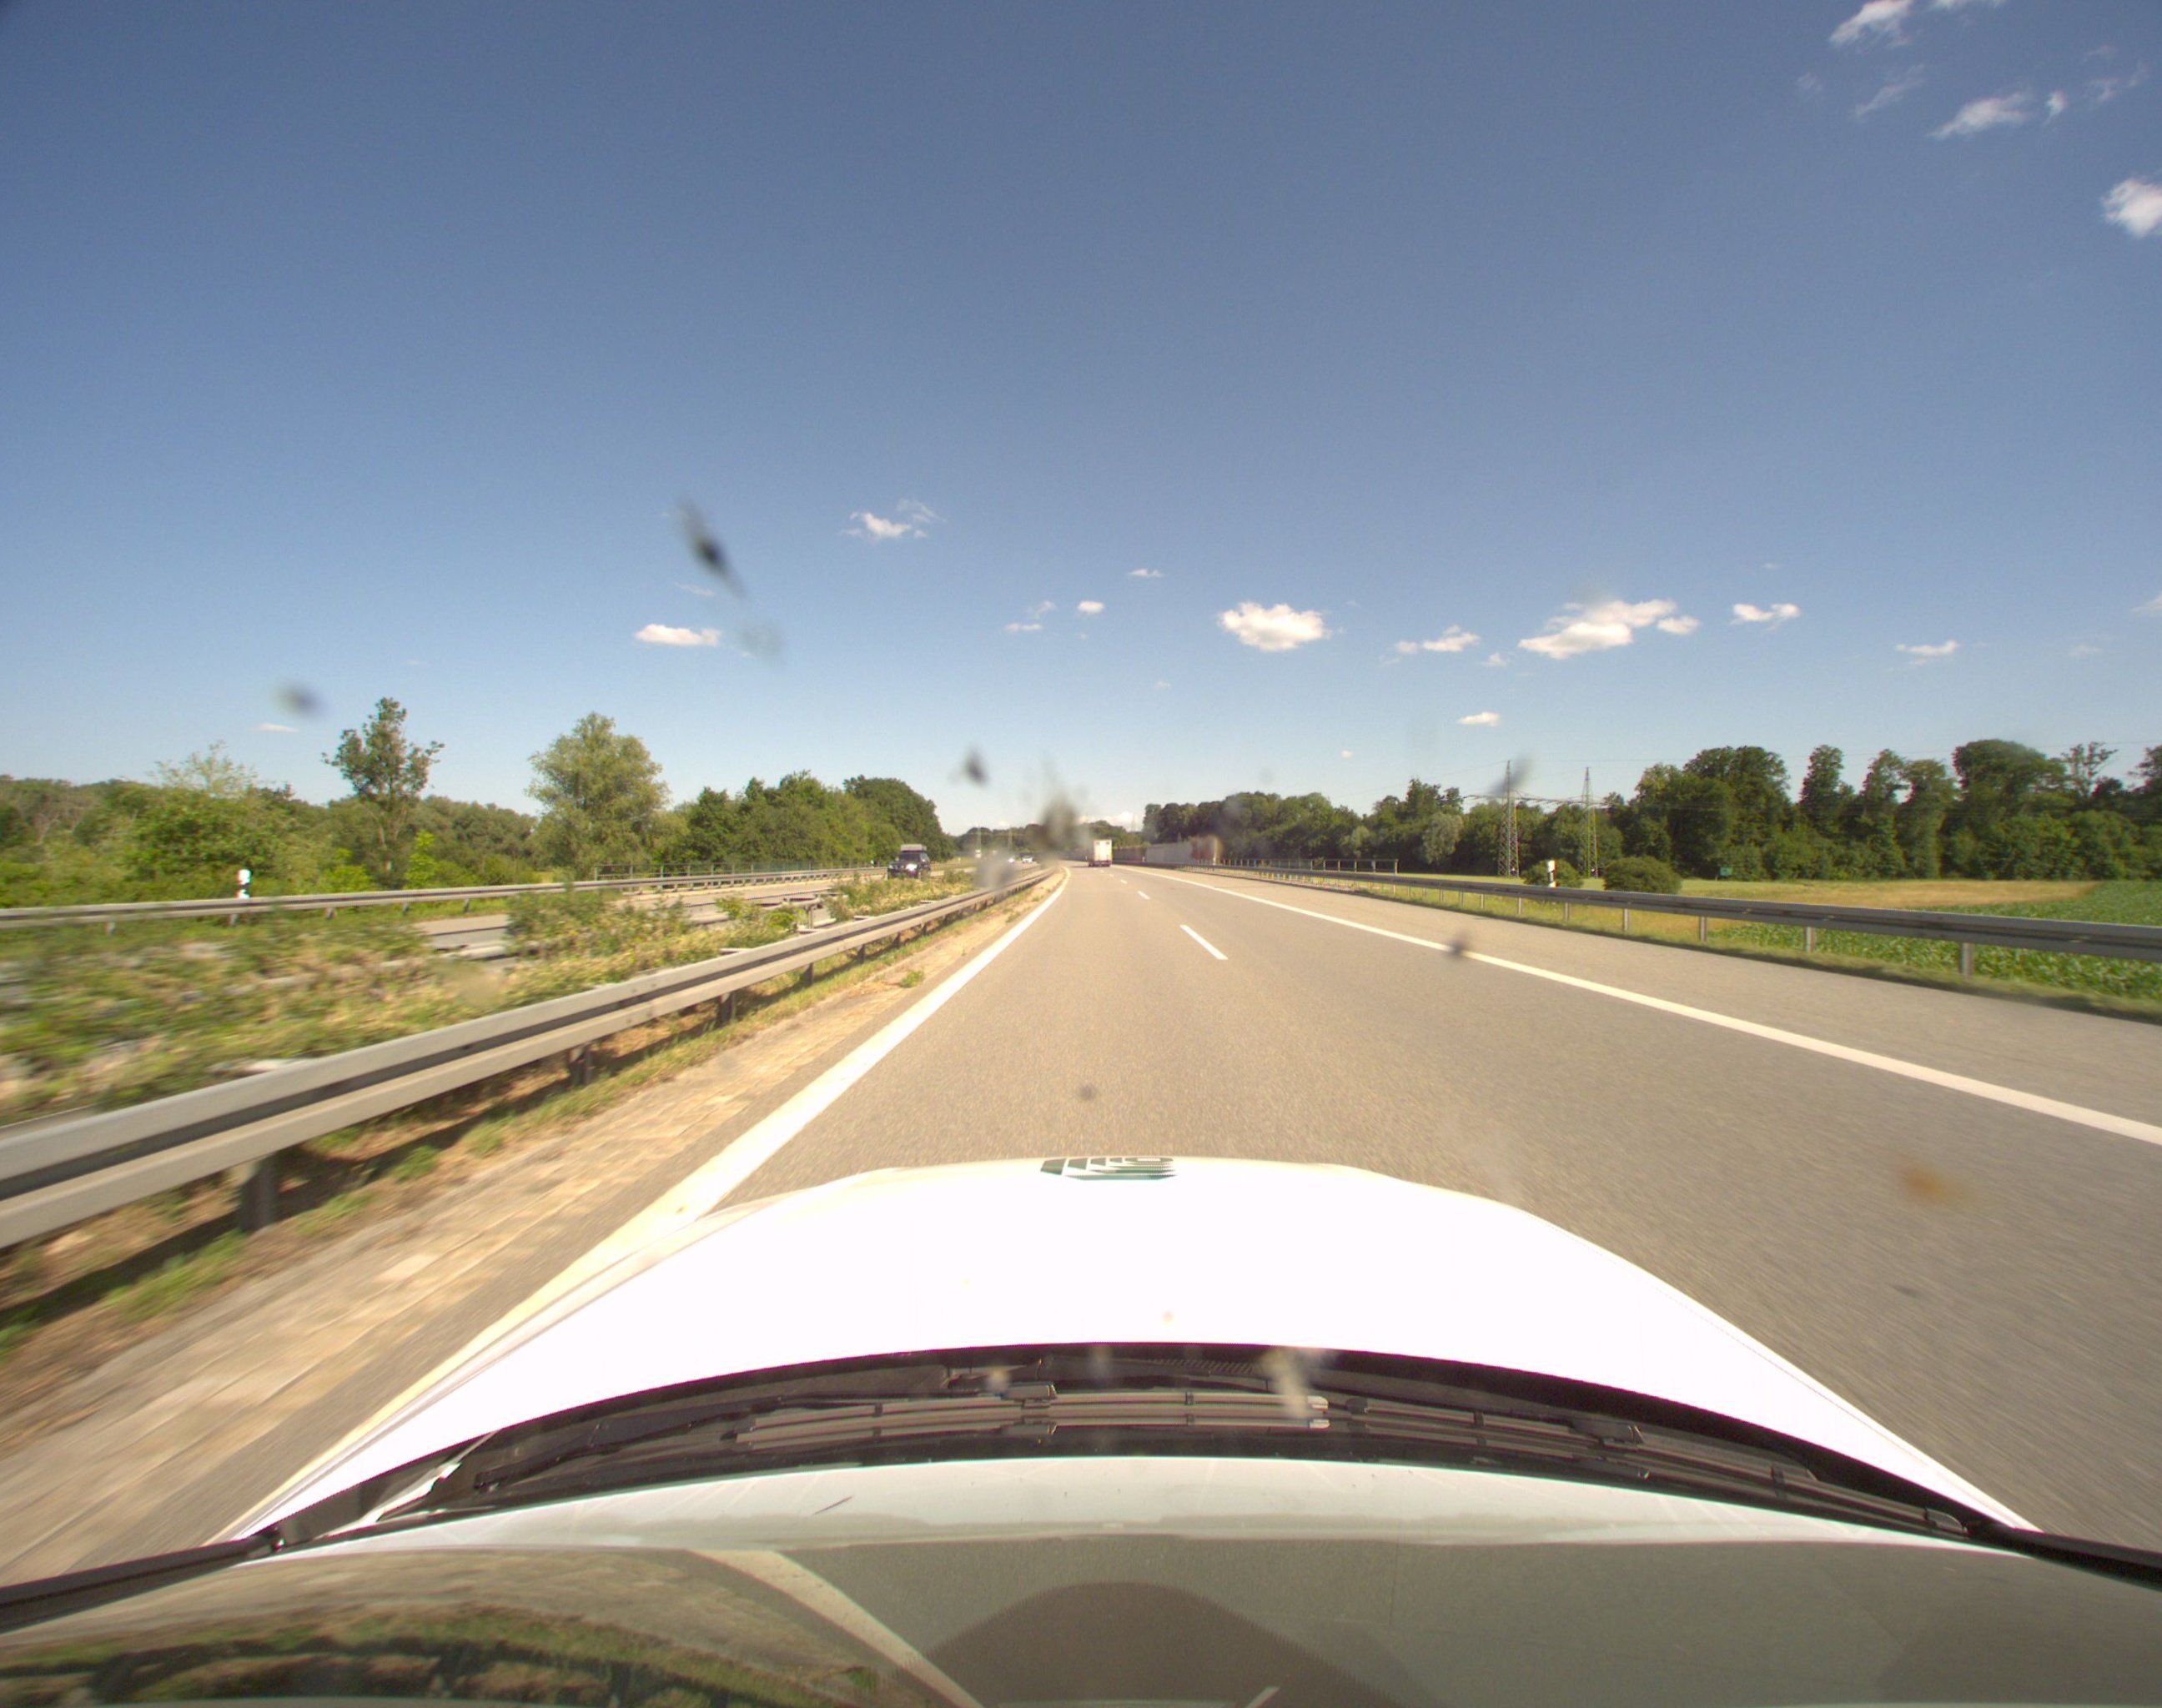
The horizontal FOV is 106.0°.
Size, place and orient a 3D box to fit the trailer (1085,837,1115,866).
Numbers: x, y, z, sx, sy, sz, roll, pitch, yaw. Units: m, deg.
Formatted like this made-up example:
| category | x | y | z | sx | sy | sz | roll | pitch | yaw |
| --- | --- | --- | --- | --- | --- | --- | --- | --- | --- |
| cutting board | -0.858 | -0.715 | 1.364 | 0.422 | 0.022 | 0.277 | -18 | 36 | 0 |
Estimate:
| category | x | y | z | sx | sy | sz | roll | pitch | yaw |
| --- | --- | --- | --- | --- | --- | --- | --- | --- | --- |
| trailer | 2.762 | -0.303 | 122.732 | 2.880 | 4.066 | 12.394 | -1 | 0 | -6 |

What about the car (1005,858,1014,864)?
| category | x | y | z | sx | sy | sz | roll | pitch | yaw |
| --- | --- | --- | --- | --- | --- | --- | --- | --- | --- |
| car | -16.196 | 1.546 | 184.263 | 1.771 | 1.470 | 4.496 | 0 | 0 | -6 |

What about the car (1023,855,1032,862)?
| category | x | y | z | sx | sy | sz | roll | pitch | yaw |
| --- | --- | --- | --- | --- | --- | --- | --- | --- | --- |
| car | -11.028 | 0.937 | 168.095 | 1.816 | 1.434 | 4.645 | 0 | 0 | -3 |

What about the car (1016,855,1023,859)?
| category | x | y | z | sx | sy | sz | roll | pitch | yaw |
| --- | --- | --- | --- | --- | --- | --- | --- | --- | --- |
| car | -19.188 | 0.937 | 254.367 | 1.851 | 1.482 | 3.992 | -1 | 0 | -5 |

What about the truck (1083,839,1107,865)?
| category | x | y | z | sx | sy | sz | roll | pitch | yaw |
| --- | --- | --- | --- | --- | --- | --- | --- | --- | --- |
| truck | 2.108 | -0.346 | 129.298 | 2.828 | 4.012 | 6.569 | -1 | 0 | -8 |

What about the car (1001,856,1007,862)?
| category | x | y | z | sx | sy | sz | roll | pitch | yaw |
| --- | --- | --- | --- | --- | --- | --- | --- | --- | --- |
| car | -23.839 | 1.579 | 251.520 | 1.851 | 1.634 | 4.483 | -1 | 0 | -6 |

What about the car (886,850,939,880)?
| category | x | y | z | sx | sy | sz | roll | pitch | yaw |
| --- | --- | --- | --- | --- | --- | --- | --- | --- | --- |
| car | -10.086 | 0.633 | 49.126 | 1.987 | 1.679 | 5.317 | -2 | 0 | 0 |
